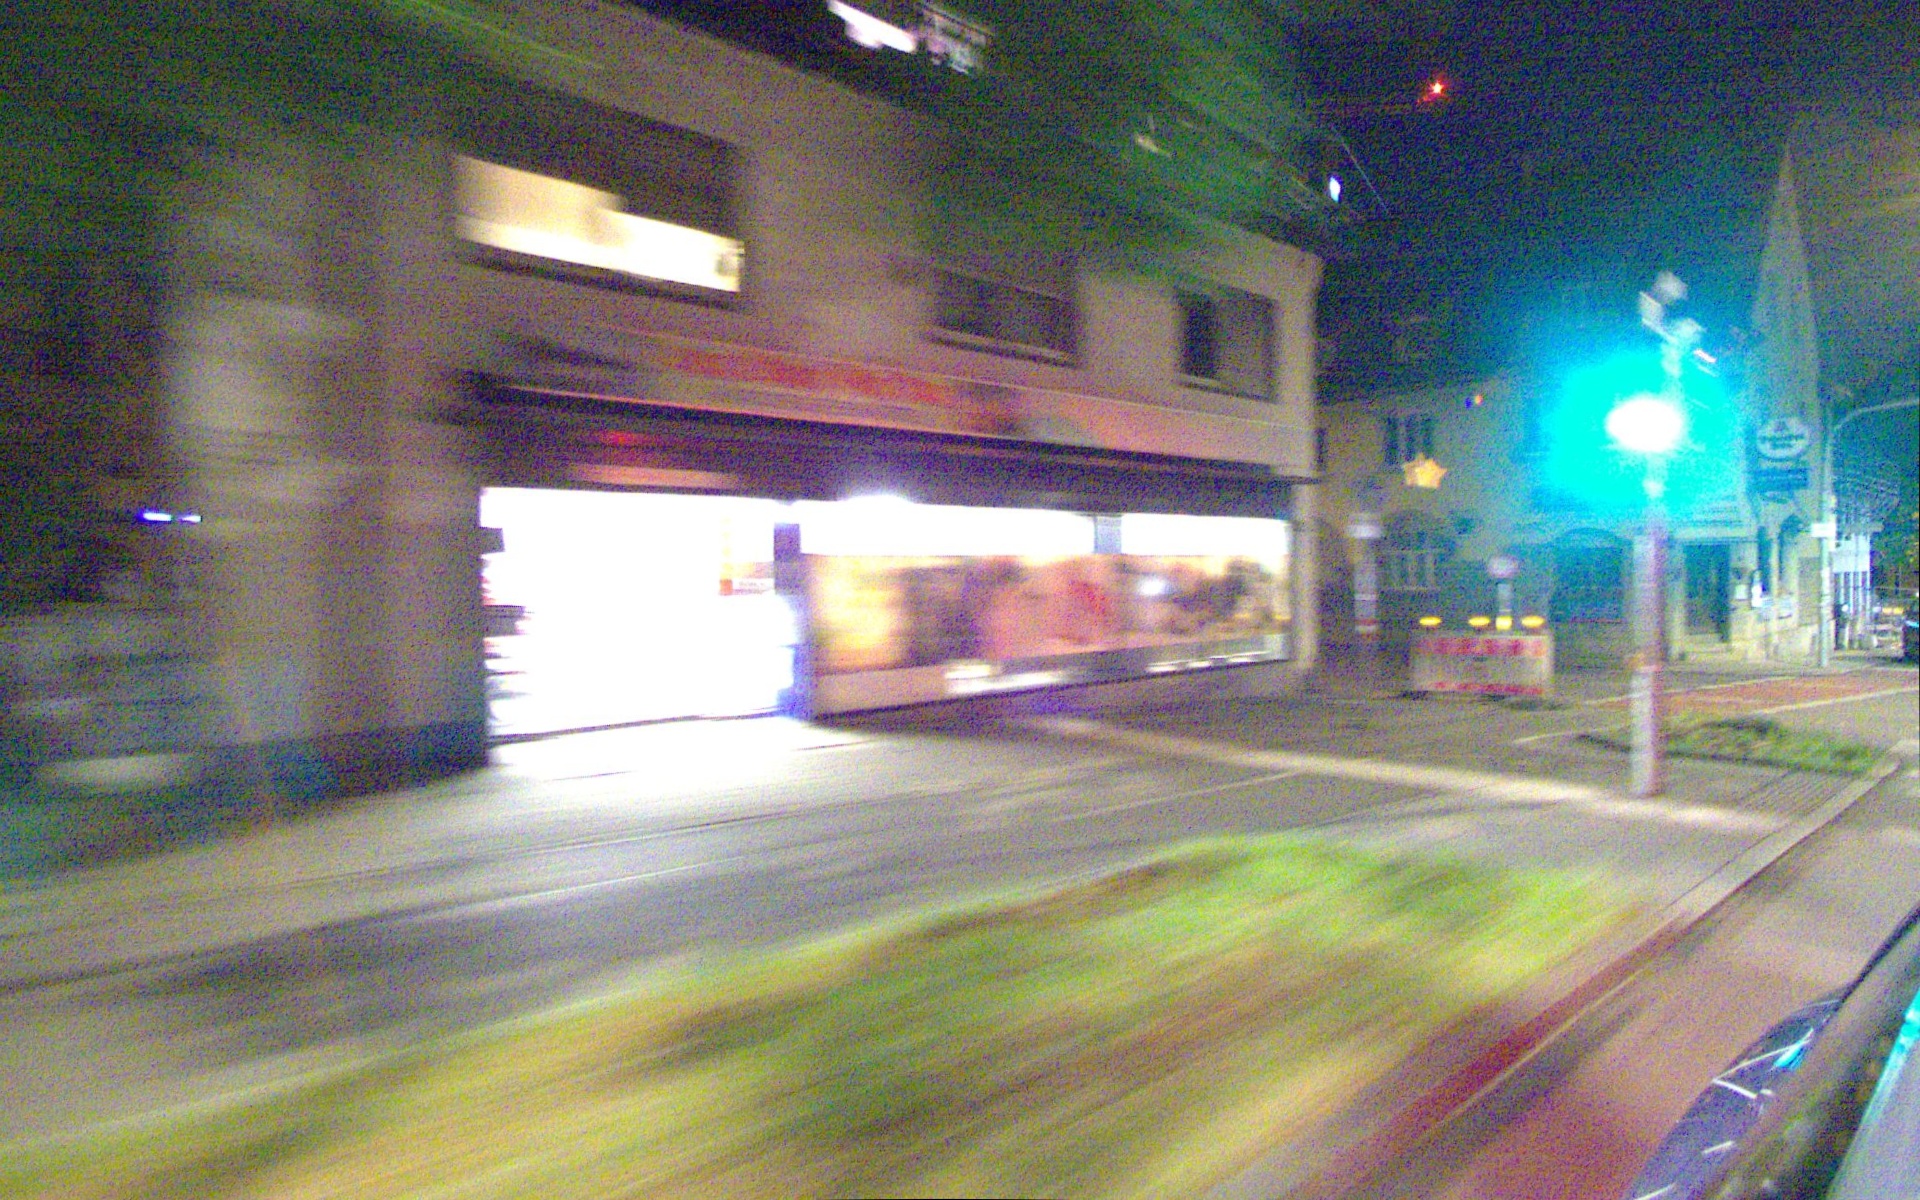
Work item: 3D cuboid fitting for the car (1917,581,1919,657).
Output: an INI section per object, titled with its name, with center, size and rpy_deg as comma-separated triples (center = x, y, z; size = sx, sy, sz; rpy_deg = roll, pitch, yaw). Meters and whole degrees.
[car]
center = 25.751, 0.478, 25.622
size = 4.818, 1.850, 1.913
rpy_deg = 0, 0, -43
